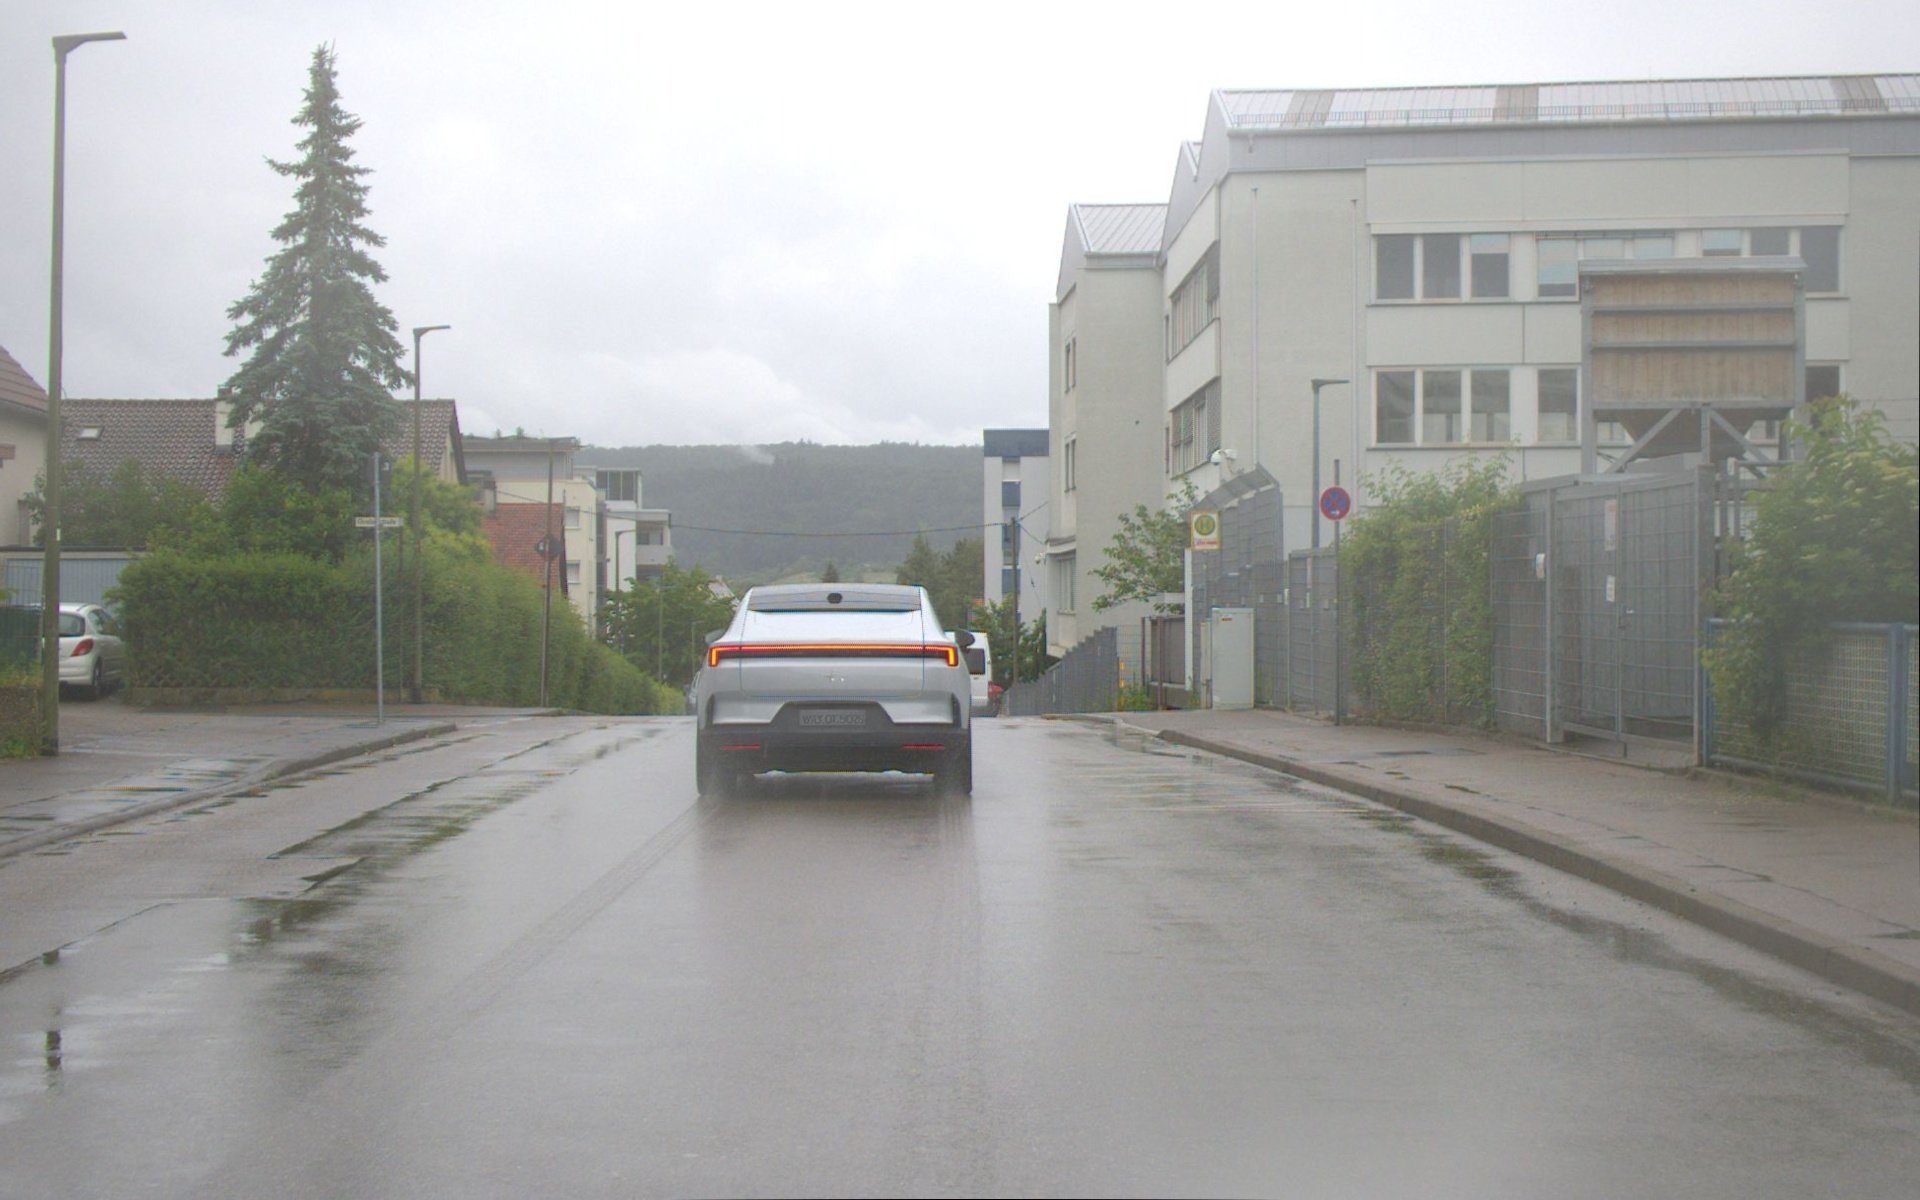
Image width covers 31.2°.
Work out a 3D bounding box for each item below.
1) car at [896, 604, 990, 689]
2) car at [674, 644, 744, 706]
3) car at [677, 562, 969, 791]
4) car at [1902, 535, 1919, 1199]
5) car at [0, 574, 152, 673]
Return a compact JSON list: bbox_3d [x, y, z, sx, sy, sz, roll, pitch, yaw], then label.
[{"bbox_3d":[-0.456,1.186,85.975,1.993,2.007,4.000,-1,-2,-5],"label":"car"},{"bbox_3d":[-6.377,1.899,87.603,1.675,1.522,4.000,0,0,-3],"label":"car"},{"bbox_3d":[-1.007,0.501,25.966,1.993,1.497,4.670,0,1,-2],"label":"car"},{"bbox_3d":[2.717,0.704,4.746,1.681,1.552,3.675,1,1,-2],"label":"car"},{"bbox_3d":[-14.469,0.358,55.946,1.794,1.503,4.001,0,1,-2],"label":"car"}]
